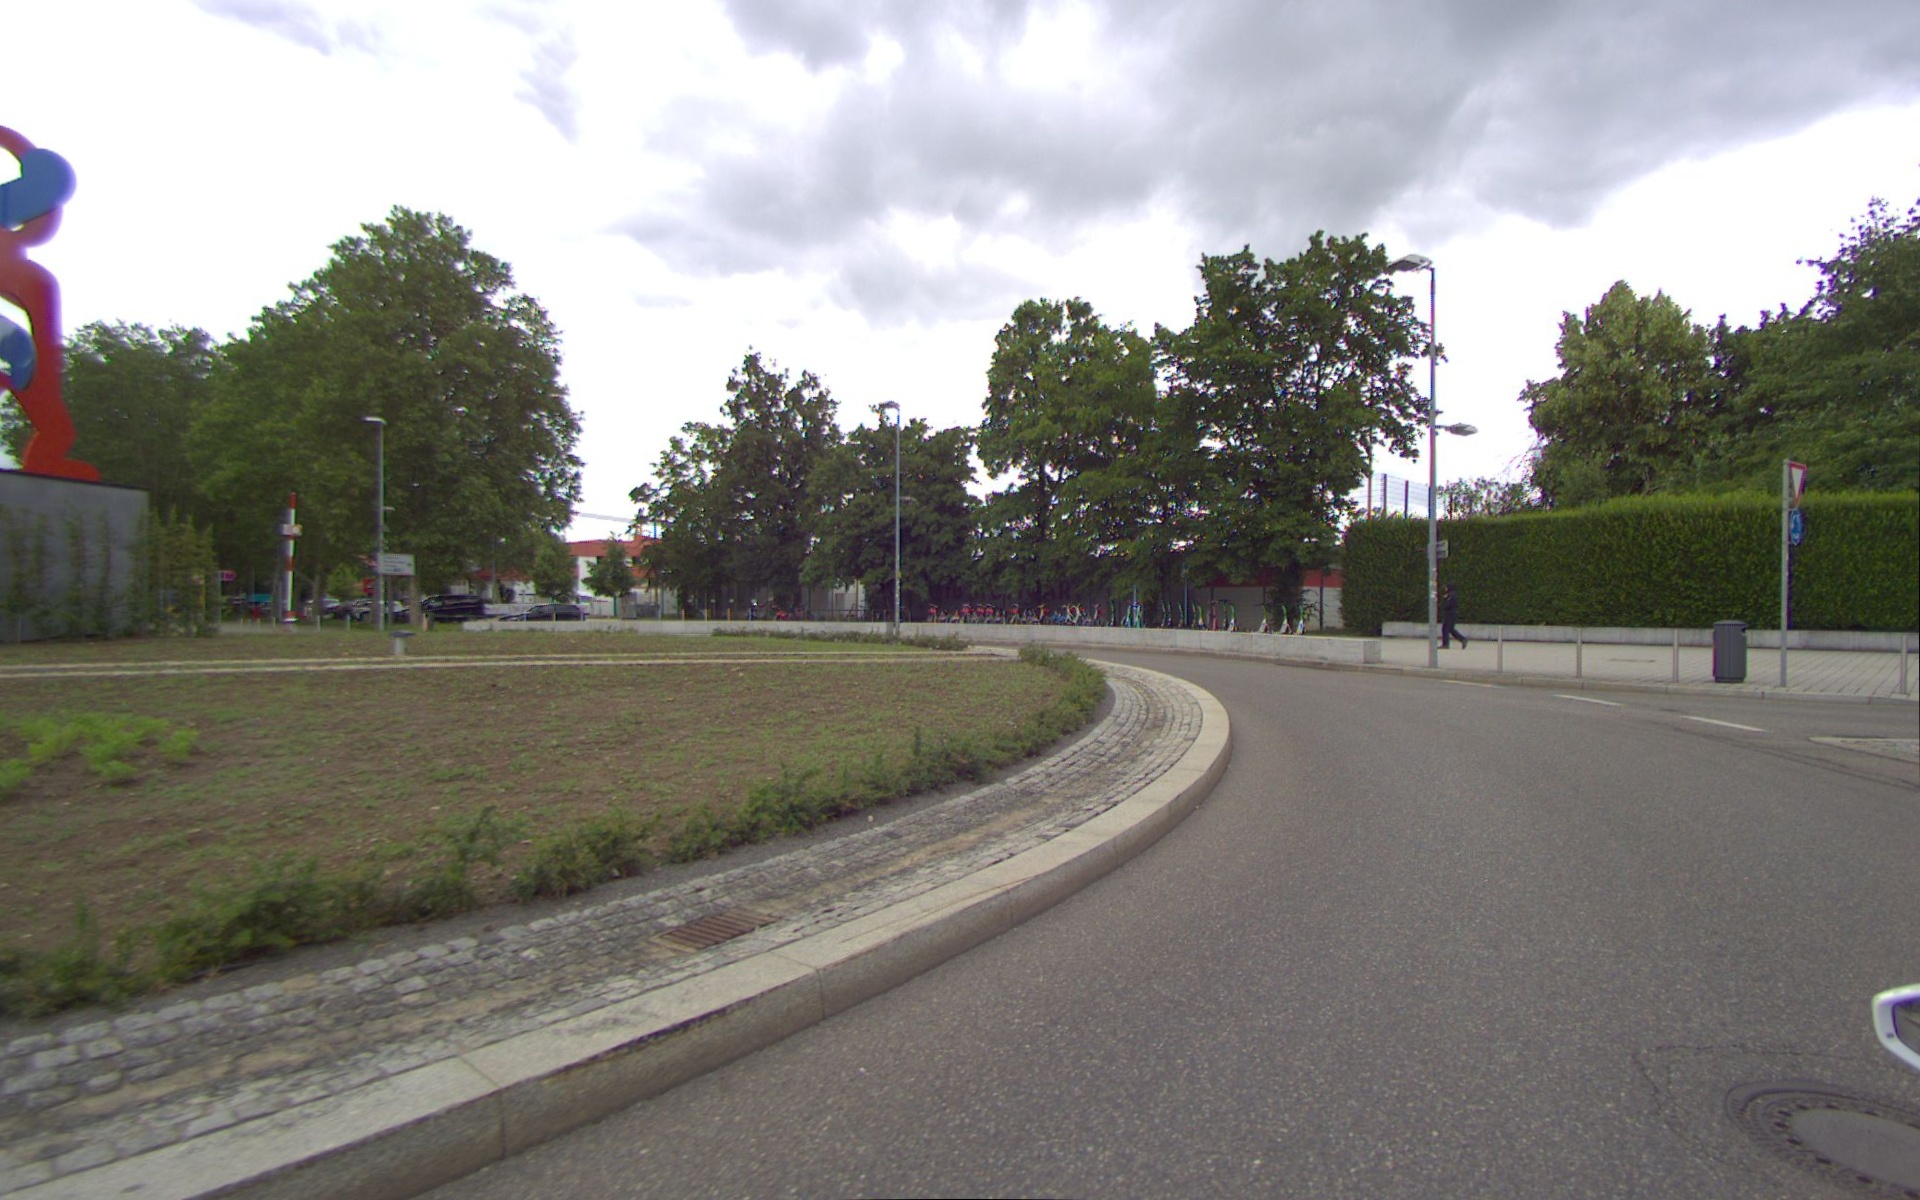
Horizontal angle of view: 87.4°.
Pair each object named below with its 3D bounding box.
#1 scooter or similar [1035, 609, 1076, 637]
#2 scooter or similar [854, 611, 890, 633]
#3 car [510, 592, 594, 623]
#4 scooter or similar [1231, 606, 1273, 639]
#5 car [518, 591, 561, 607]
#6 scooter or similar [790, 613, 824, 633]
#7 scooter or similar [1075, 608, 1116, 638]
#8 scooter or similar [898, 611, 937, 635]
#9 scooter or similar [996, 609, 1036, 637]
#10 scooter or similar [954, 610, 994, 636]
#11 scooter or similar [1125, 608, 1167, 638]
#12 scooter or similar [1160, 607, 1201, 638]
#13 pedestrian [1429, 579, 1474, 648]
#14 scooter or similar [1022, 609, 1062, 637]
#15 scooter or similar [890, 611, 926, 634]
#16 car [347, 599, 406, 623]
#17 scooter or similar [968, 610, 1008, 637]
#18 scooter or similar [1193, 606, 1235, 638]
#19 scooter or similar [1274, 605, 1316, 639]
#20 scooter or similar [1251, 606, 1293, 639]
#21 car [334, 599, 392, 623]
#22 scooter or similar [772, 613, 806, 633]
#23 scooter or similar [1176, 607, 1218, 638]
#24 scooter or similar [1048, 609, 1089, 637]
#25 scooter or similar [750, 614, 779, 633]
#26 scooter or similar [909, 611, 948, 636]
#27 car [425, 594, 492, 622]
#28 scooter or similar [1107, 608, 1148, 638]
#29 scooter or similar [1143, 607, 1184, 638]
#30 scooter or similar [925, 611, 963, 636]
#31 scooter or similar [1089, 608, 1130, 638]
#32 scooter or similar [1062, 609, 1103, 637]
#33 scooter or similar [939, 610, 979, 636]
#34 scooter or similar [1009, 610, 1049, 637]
[{"bbox_3d":[4.007,0.947,42.095,0.631,1.124,1.964,-1,0,42],"label":"scooter or similar"},{"bbox_3d":[-4.577,1.142,52.291,0.631,1.124,1.964,-1,0,42],"label":"scooter or similar"},{"bbox_3d":[-21.719,0.389,53.562,1.755,1.545,3.802,-1,0,44],"label":"car"},{"bbox_3d":[10.463,0.789,36.010,0.631,1.124,1.964,-1,0,42],"label":"scooter or similar"},{"bbox_3d":[-46.280,-0.082,110.639,1.771,1.674,3.934,-1,0,43],"label":"car"},{"bbox_3d":[-8.633,1.294,56.801,0.631,1.124,1.964,-1,0,42],"label":"scooter or similar"},{"bbox_3d":[5.511,0.921,40.670,0.631,1.124,1.964,-1,0,42],"label":"scooter or similar"},{"bbox_3d":[-2.039,1.106,48.479,0.631,1.119,1.964,-1,0,42],"label":"scooter or similar"},{"bbox_3d":[2.441,0.990,43.567,0.631,1.124,1.964,-1,0,42],"label":"scooter or similar"},{"bbox_3d":[0.649,1.043,45.426,0.631,1.124,1.964,-1,0,42],"label":"scooter or similar"},{"bbox_3d":[7.240,0.877,39.044,0.631,1.124,1.964,-1,0,42],"label":"scooter or similar"},{"bbox_3d":[8.341,0.842,37.943,0.631,1.124,1.964,-1,0,42],"label":"scooter or similar"},{"bbox_3d":[13.406,0.365,27.410,0.786,1.832,0.856,-1,0,-40],"label":"pedestrian"},{"bbox_3d":[3.495,0.975,42.599,0.631,1.124,1.964,-1,0,42],"label":"scooter or similar"},{"bbox_3d":[-2.628,1.138,50.851,0.631,1.124,1.964,-1,0,42],"label":"scooter or similar"},{"bbox_3d":[-44.469,0.818,76.577,3.678,1.801,1.652,-1,0,-38],"label":"car"},{"bbox_3d":[1.271,1.032,44.806,0.631,1.124,1.964,-1,0,42],"label":"scooter or similar"},{"bbox_3d":[9.371,0.802,37.006,0.631,1.124,1.964,-1,0,42],"label":"scooter or similar"},{"bbox_3d":[11.640,0.762,34.889,0.631,1.124,1.964,-1,0,42],"label":"scooter or similar"},{"bbox_3d":[11.041,0.785,35.468,0.631,1.124,1.964,-1,0,42],"label":"scooter or similar"},{"bbox_3d":[-46.457,0.816,78.174,3.679,1.801,1.652,-1,0,-39],"label":"car"},{"bbox_3d":[-9.924,1.335,58.416,0.631,1.124,1.964,-1,0,42],"label":"scooter or similar"},{"bbox_3d":[8.860,0.834,37.473,0.631,1.124,1.964,-1,0,42],"label":"scooter or similar"},{"bbox_3d":[4.521,0.941,41.617,0.631,1.124,1.964,-1,0,42],"label":"scooter or similar"},{"bbox_3d":[-11.911,1.407,61.252,0.538,1.109,1.799,-1,0,42],"label":"scooter or similar"},{"bbox_3d":[-1.488,1.101,47.947,0.631,1.124,1.964,-1,0,42],"label":"scooter or similar"},{"bbox_3d":[-33.612,0.551,67.321,3.685,1.801,1.649,-1,0,-43],"label":"car"},{"bbox_3d":[6.612,0.897,39.632,0.631,1.124,1.964,-1,0,42],"label":"scooter or similar"},{"bbox_3d":[7.811,0.862,38.487,0.631,1.124,1.964,-1,0,42],"label":"scooter or similar"},{"bbox_3d":[-0.735,1.074,46.856,0.631,1.124,1.964,-1,0,42],"label":"scooter or similar"},{"bbox_3d":[5.986,0.916,40.199,0.631,1.124,1.964,-1,0,42],"label":"scooter or similar"},{"bbox_3d":[5.031,0.929,41.137,0.631,1.124,1.964,-1,0,42],"label":"scooter or similar"},{"bbox_3d":[-0.035,1.048,46.199,0.631,1.124,1.964,-1,0,42],"label":"scooter or similar"},{"bbox_3d":[2.970,0.996,43.093,0.631,1.124,1.964,-1,0,42],"label":"scooter or similar"}]
